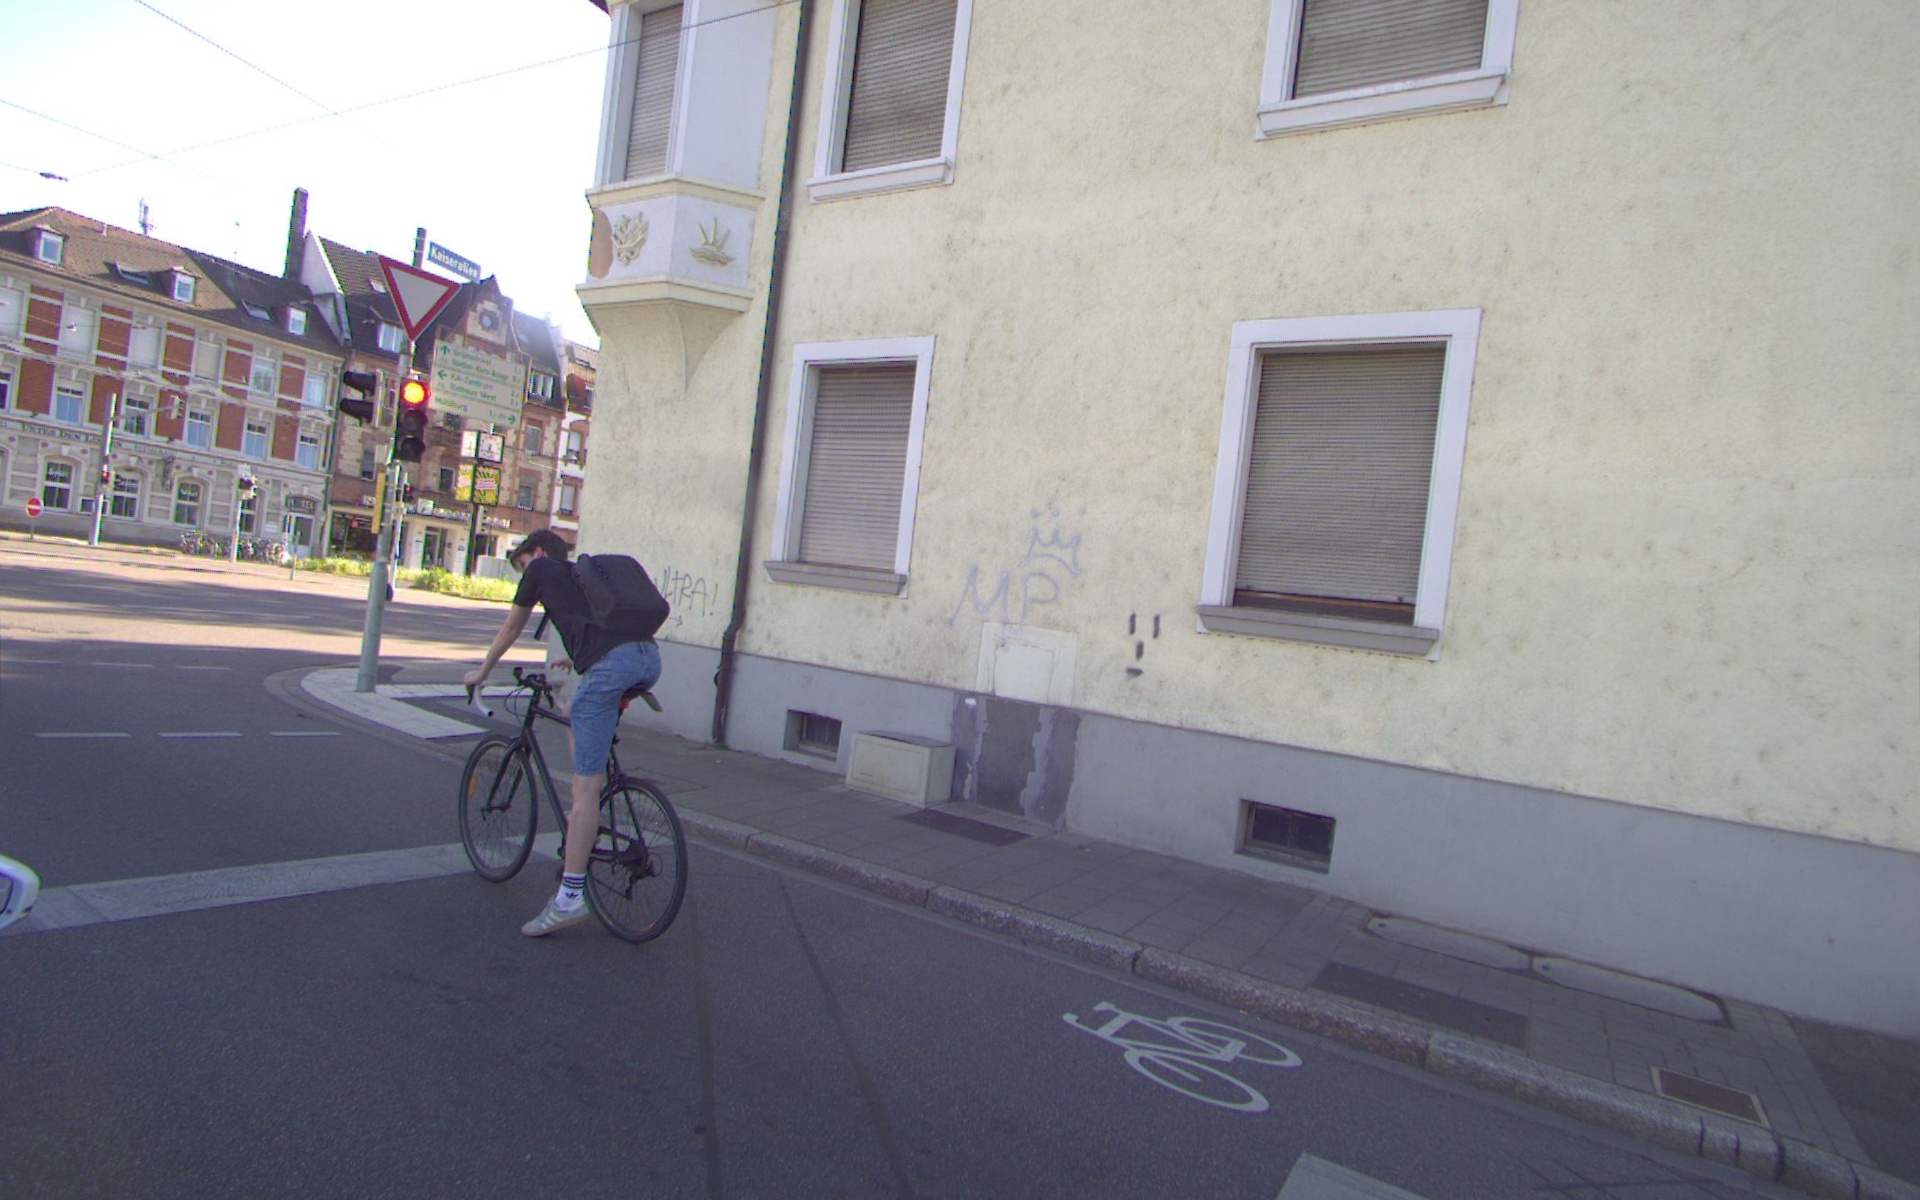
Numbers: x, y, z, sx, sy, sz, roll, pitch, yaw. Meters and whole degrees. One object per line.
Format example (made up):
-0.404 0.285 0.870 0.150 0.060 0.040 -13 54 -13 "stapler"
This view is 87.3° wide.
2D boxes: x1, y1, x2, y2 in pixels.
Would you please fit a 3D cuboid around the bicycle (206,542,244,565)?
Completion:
-34.175 -2.158 46.769 2.125 0.850 0.659 6 -2 33 "bicycle"

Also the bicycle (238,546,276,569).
-33.486 -2.023 47.896 2.125 0.850 0.659 6 -2 33 "bicycle"

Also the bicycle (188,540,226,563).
-34.549 -2.232 46.148 2.125 0.850 0.659 6 -2 33 "bicycle"

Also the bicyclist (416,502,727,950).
-1.740 0.492 4.488 1.098 1.722 0.573 7 0 32 "bicyclist"

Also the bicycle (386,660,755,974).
-1.788 0.876 4.509 1.721 0.982 0.519 7 0 32 "bicycle"

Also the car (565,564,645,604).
-23.007 -1.001 65.327 1.968 2.038 4.430 7 -1 34 "car"

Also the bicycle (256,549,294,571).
-33.098 -1.943 48.601 2.125 0.850 0.659 6 -2 33 "bicycle"

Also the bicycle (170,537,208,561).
-34.865 -2.301 45.481 2.125 0.850 0.659 6 -2 33 "bicycle"

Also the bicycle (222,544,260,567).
-33.841 -2.091 47.366 2.125 0.850 0.659 6 -2 33 "bicycle"
